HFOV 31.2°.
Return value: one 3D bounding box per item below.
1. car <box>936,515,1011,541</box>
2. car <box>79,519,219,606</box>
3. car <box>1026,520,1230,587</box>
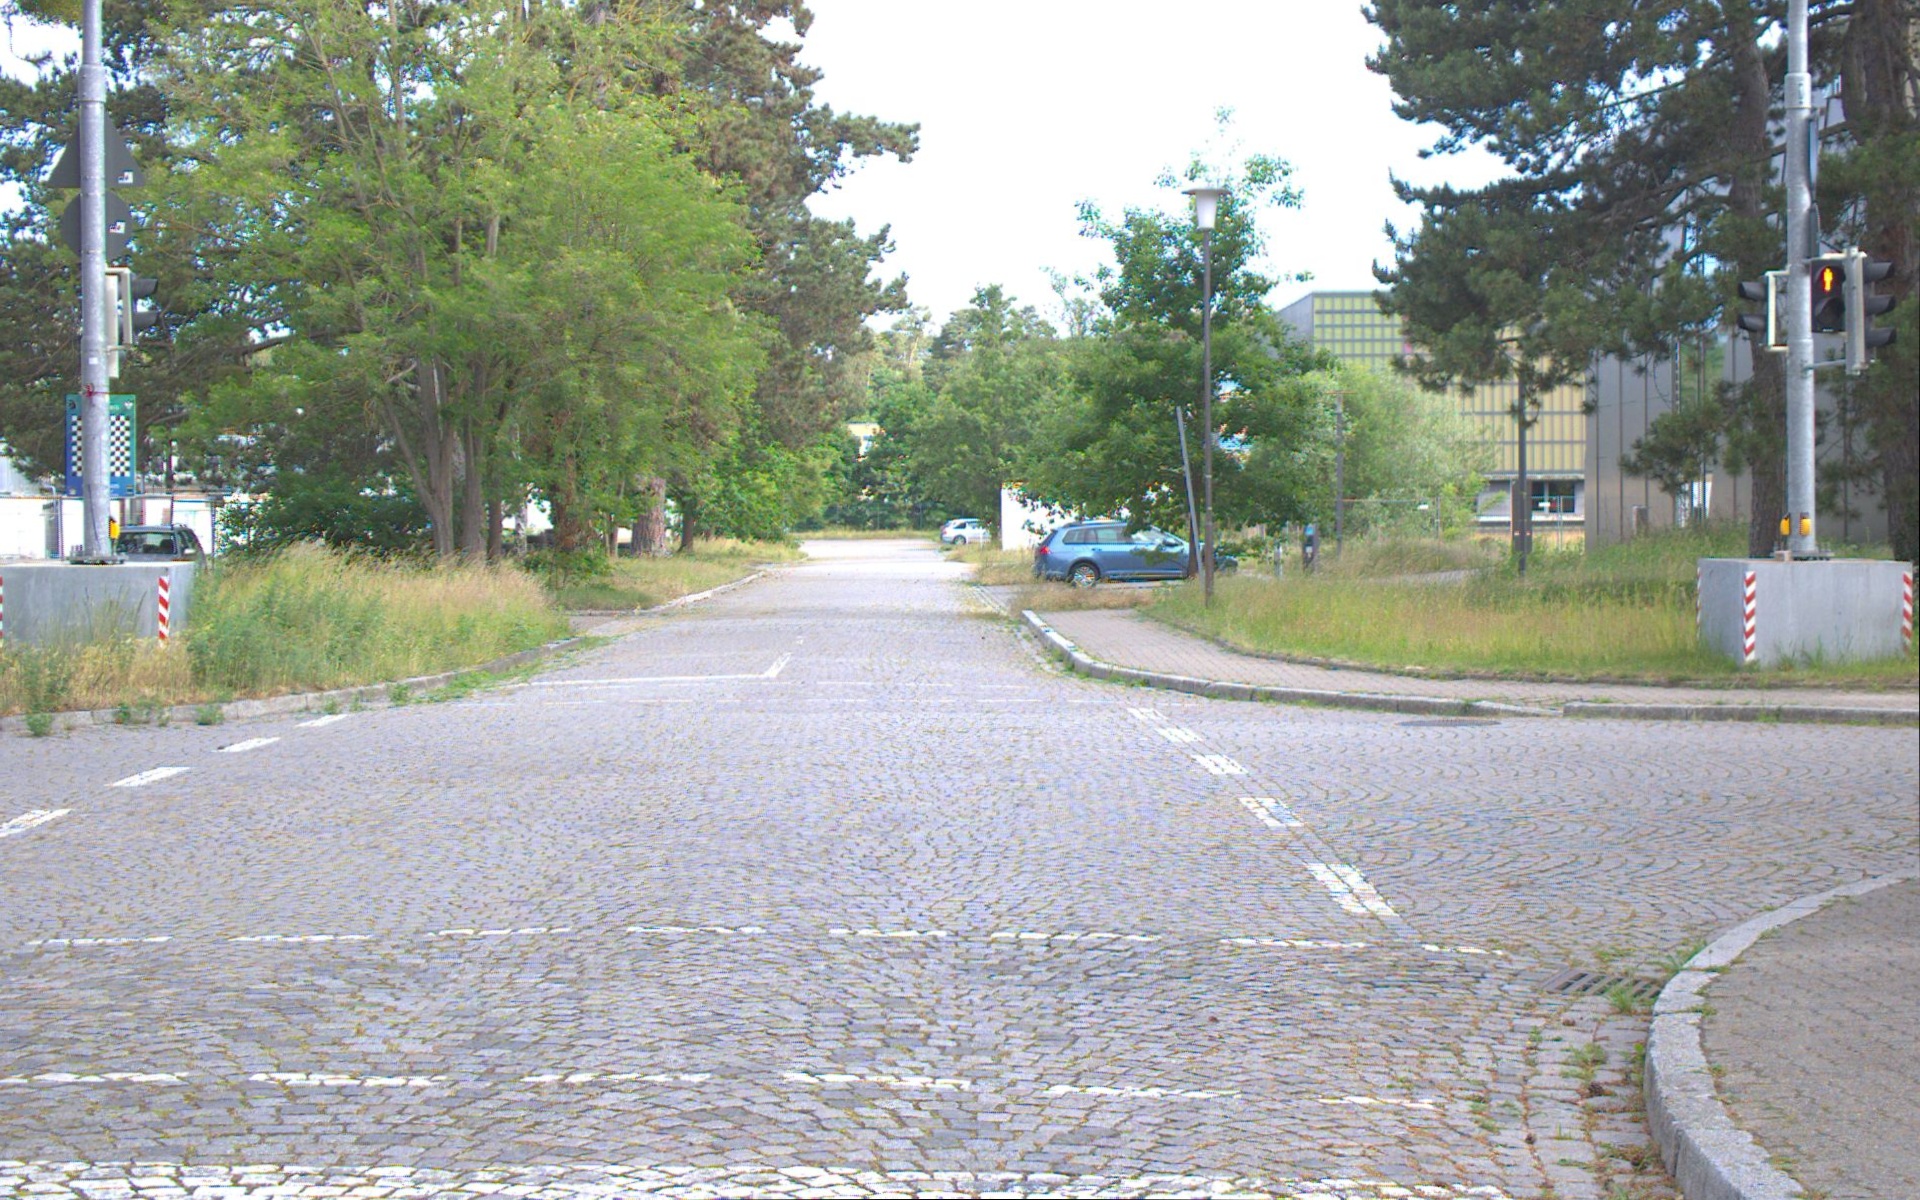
[{"bbox_3d":[0.770,-4.056,193.290,3.986,1.393,2.001,-1,2,-6],"label":"car"},{"bbox_3d":[-14.390,-0.690,61.178,1.613,1.482,4.000,0,1,-1],"label":"car"},{"bbox_3d":[3.702,-1.039,76.256,4.343,1.417,2.000,0,2,-3],"label":"car"}]
